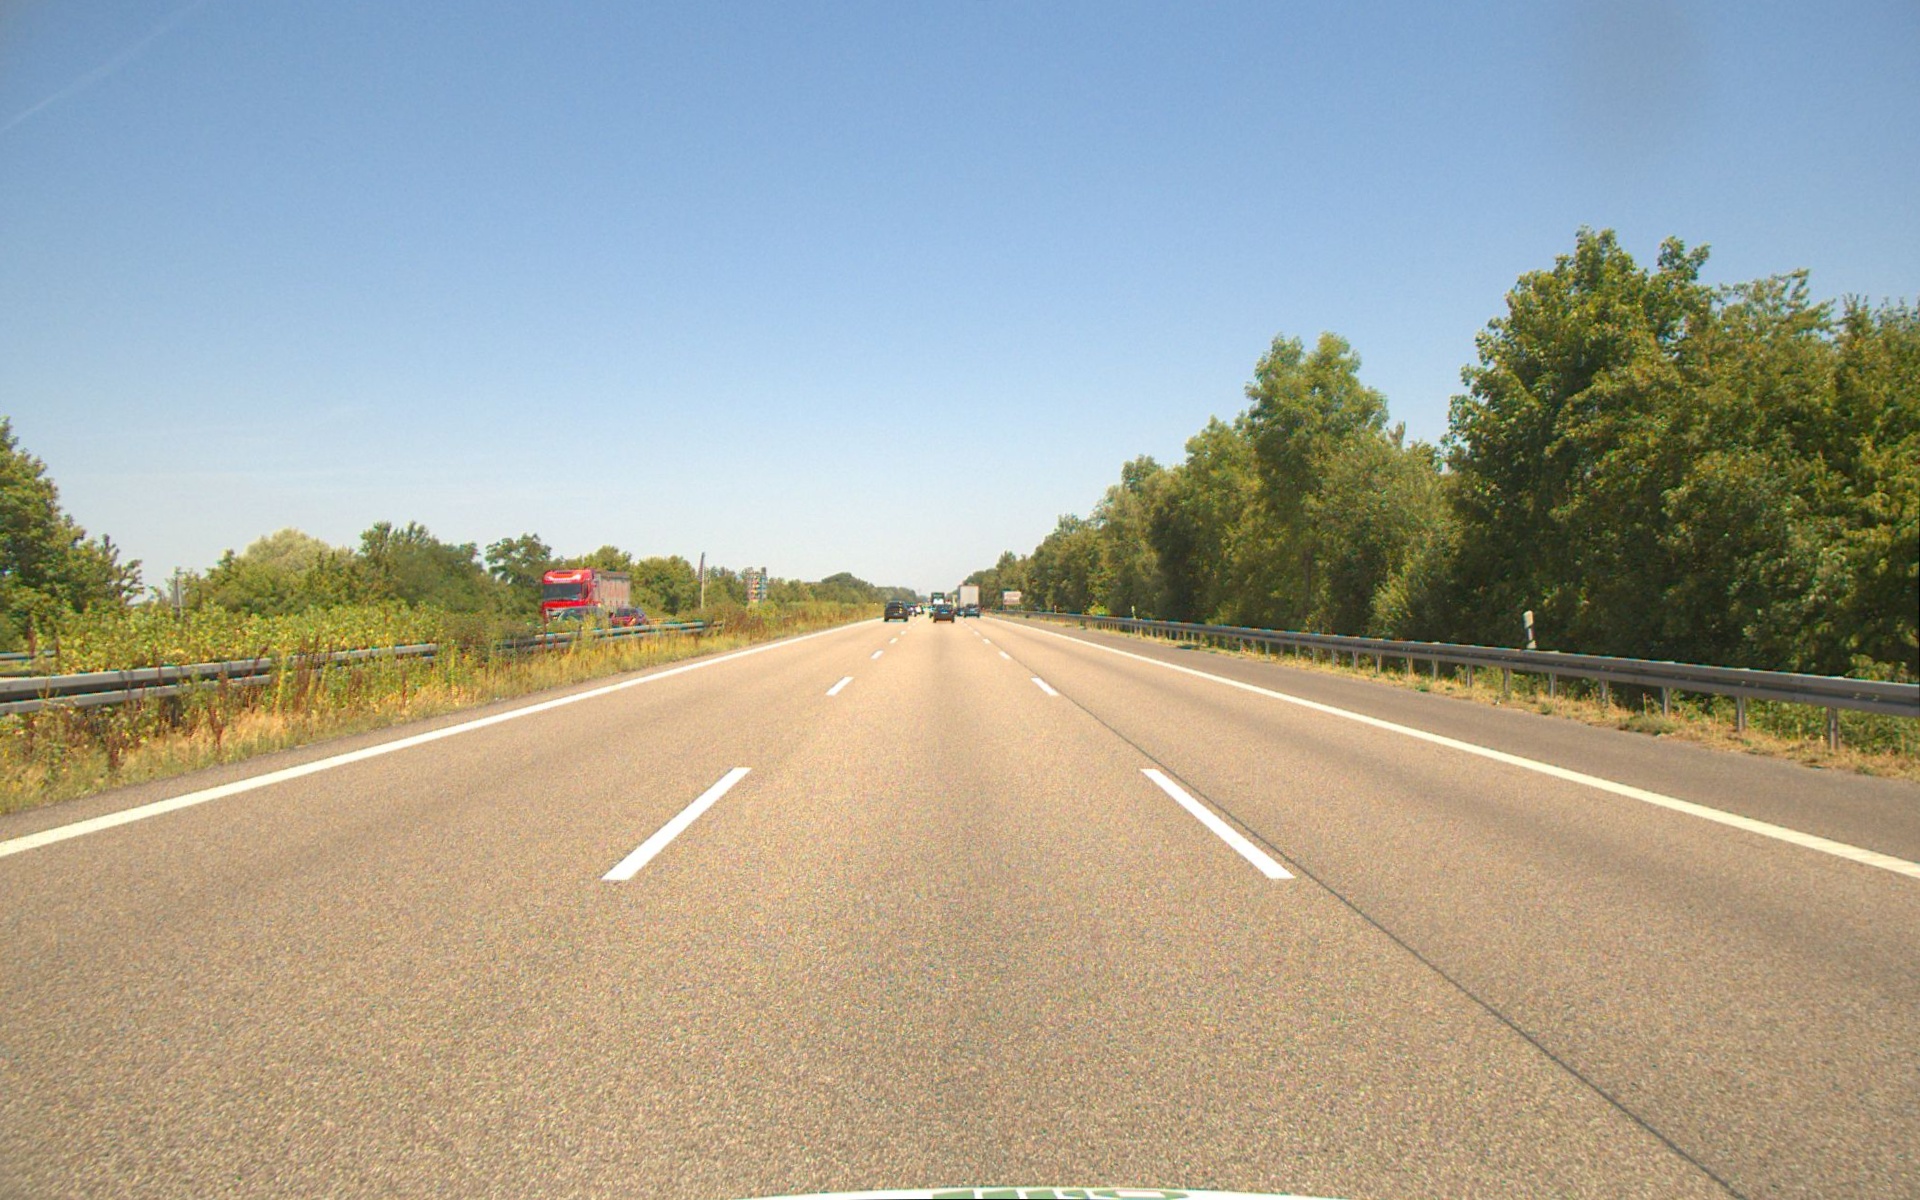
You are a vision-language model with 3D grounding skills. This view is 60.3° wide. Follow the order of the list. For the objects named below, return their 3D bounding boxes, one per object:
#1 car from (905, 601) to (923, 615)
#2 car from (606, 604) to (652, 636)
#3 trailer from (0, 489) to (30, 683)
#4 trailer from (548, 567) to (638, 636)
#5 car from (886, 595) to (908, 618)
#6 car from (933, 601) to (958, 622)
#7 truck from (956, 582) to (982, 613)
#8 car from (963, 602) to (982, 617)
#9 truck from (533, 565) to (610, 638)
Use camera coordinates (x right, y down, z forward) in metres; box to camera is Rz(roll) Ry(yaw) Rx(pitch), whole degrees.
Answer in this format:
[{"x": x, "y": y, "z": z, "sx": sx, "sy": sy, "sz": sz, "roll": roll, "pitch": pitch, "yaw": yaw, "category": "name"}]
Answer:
[{"x": -5.660, "y": 0.985, "z": 205.518, "sx": 2.085, "sy": 1.674, "sz": 4.304, "roll": -1, "pitch": 0, "yaw": 0, "category": "car"}, {"x": -18.045, "y": 1.088, "z": 90.368, "sx": 1.620, "sy": 1.673, "sz": 4.333, "roll": -1, "pitch": 0, "yaw": 0, "category": "car"}, {"x": -21.061, "y": -0.236, "z": 28.474, "sx": 2.677, "sy": 4.004, "sz": 13.063, "roll": -3, "pitch": 0, "yaw": 0, "category": "trailer"}, {"x": -22.064, "y": 0.096, "z": 100.114, "sx": 3.015, "sy": 3.937, "sz": 10.906, "roll": -1, "pitch": 0, "yaw": 0, "category": "trailer"}, {"x": -5.240, "y": 0.563, "z": 137.949, "sx": 1.842, "sy": 1.823, "sz": 3.999, "roll": 0, "pitch": 1, "yaw": -2, "category": "car"}, {"x": -1.131, "y": 0.870, "z": 129.523, "sx": 1.864, "sy": 1.611, "sz": 4.304, "roll": -1, "pitch": 0, "yaw": 0, "category": "car"}, {"x": 1.118, "y": -0.304, "z": 220.575, "sx": 3.316, "sy": 4.040, "sz": 9.536, "roll": -1, "pitch": 0, "yaw": 0, "category": "truck"}, {"x": 1.394, "y": 1.073, "z": 189.444, "sx": 2.085, "sy": 1.611, "sz": 4.304, "roll": -1, "pitch": 0, "yaw": 0, "category": "car"}, {"x": -22.072, "y": 0.090, "z": 94.225, "sx": 3.016, "sy": 3.937, "sz": 5.590, "roll": -1, "pitch": 0, "yaw": 0, "category": "truck"}]
